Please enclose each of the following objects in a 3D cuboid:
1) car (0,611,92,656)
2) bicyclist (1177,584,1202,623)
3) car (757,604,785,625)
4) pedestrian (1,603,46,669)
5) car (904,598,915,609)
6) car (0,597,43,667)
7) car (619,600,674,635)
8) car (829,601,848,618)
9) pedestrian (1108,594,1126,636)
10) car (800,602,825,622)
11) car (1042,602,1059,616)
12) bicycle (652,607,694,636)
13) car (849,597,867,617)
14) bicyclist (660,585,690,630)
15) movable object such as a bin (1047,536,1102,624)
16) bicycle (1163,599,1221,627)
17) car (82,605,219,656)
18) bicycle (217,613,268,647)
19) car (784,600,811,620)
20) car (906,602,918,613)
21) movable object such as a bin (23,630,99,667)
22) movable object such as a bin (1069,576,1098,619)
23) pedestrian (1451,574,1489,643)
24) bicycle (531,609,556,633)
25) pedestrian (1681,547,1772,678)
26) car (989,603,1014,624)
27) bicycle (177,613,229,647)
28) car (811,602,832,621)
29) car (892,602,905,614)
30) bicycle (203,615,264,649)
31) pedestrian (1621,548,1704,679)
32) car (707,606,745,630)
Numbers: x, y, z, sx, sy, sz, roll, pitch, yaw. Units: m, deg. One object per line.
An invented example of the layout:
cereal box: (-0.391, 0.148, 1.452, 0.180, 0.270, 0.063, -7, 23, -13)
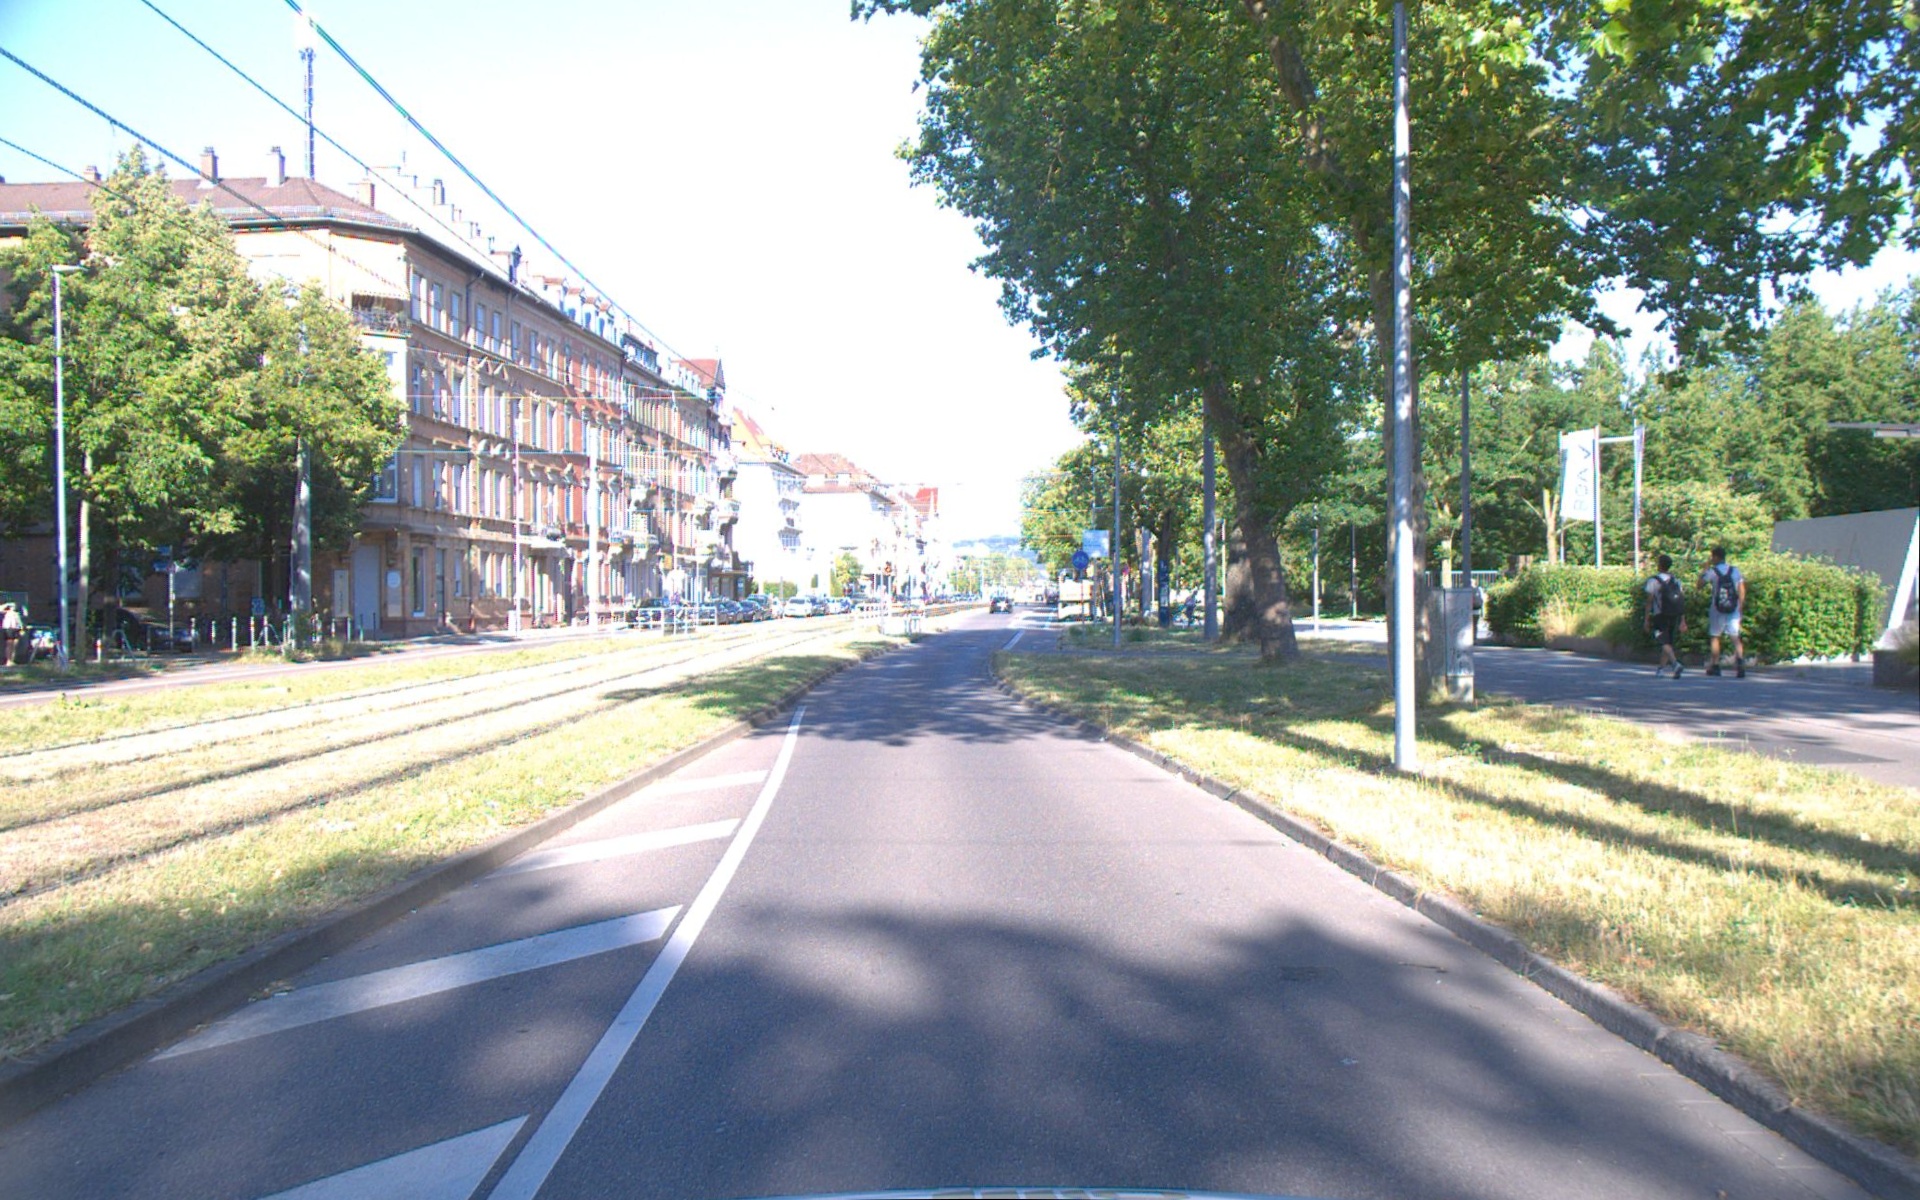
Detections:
car: (-33.103, 1.160, 58.142, 4.092, 1.497, 2.000, 1, -1, 0)
bicyclist: (9.120, 0.122, 65.803, 0.884, 1.522, 0.767, -1, 0, 2)
car: (-14.772, 1.111, 129.227, 1.529, 1.483, 3.666, 1, 1, 3)
pedestrian: (-23.387, 0.899, 41.314, 0.605, 1.621, 0.798, 1, 0, 1)
car: (-7.836, 0.593, 256.315, 1.495, 1.638, 3.225, 1, 1, 3)
car: (-30.479, 0.933, 50.921, 4.517, 2.049, 1.995, 1, 0, 32)
car: (-17.357, 0.949, 91.757, 1.973, 1.784, 4.560, 1, 1, 3)
car: (-12.294, 0.928, 167.747, 1.495, 1.588, 3.225, 1, 1, 3)
pedestrian: (6.374, 0.613, 67.125, 0.647, 1.675, 0.863, -3, -1, 4)
car: (-13.090, 1.061, 146.773, 1.705, 1.588, 3.769, 1, 1, 3)
car: (13.550, 1.333, 247.850, 1.954, 1.892, 3.998, 1, 0, -3)
bicycle: (-11.288, 0.837, 65.116, 0.748, 1.059, 1.959, -1, 0, 21)
car: (-11.511, 0.760, 186.977, 1.623, 2.177, 3.527, 1, 1, 3)
bicyclist: (-11.244, 0.294, 65.261, 0.748, 1.745, 0.922, -1, 0, 21)
movable object such as a bin: (7.150, -1.187, 104.694, 3.023, 5.177, 8.895, -3, 0, 3)
bicycle: (9.235, 0.503, 65.813, 2.213, 1.059, 0.767, -1, 0, 2)
car: (-25.343, 0.940, 51.747, 4.103, 1.497, 1.995, 0, -1, 32)
bicycle: (-26.748, 1.105, 61.716, 0.768, 1.199, 2.242, 1, 0, 5)
car: (-13.952, 0.836, 142.051, 1.705, 1.588, 3.769, 1, 1, 3)
car: (-7.225, 1.135, 247.402, 1.495, 1.588, 3.225, 1, 1, 3)
movable object such as a bin: (-23.001, 1.243, 42.336, 1.219, 0.880, 1.237, 1, -1, 1)
movable object such as a bin: (9.448, -0.181, 126.770, 1.927, 3.065, 4.798, -3, 0, 3)
pedestrian: (11.835, 0.202, 38.419, 0.636, 1.566, 0.783, -2, 0, 3)
bicycle: (-21.026, 1.044, 83.500, 0.684, 1.201, 1.752, 1, 0, 4)
pedestrian: (11.012, 0.176, 23.807, 0.788, 1.825, 1.110, -2, 0, 4)
car: (3.486, 1.107, 139.313, 1.952, 1.713, 4.002, 1, 0, 3)
bicycle: (-27.565, 1.084, 60.279, 0.769, 1.199, 2.241, 1, 0, 1)
car: (-12.766, 1.034, 152.310, 1.495, 1.588, 3.225, 1, 1, 3)
car: (-8.574, 1.120, 230.512, 1.495, 1.588, 3.225, 1, 1, 3)
bicycle: (-26.365, 1.154, 60.068, 0.768, 1.199, 2.242, 1, 0, 15)
pedestrian: (10.132, 0.185, 23.890, 0.734, 1.825, 1.086, -2, 0, 4)
car: (-15.675, 1.205, 110.926, 1.739, 1.431, 3.911, 1, 1, 3)
